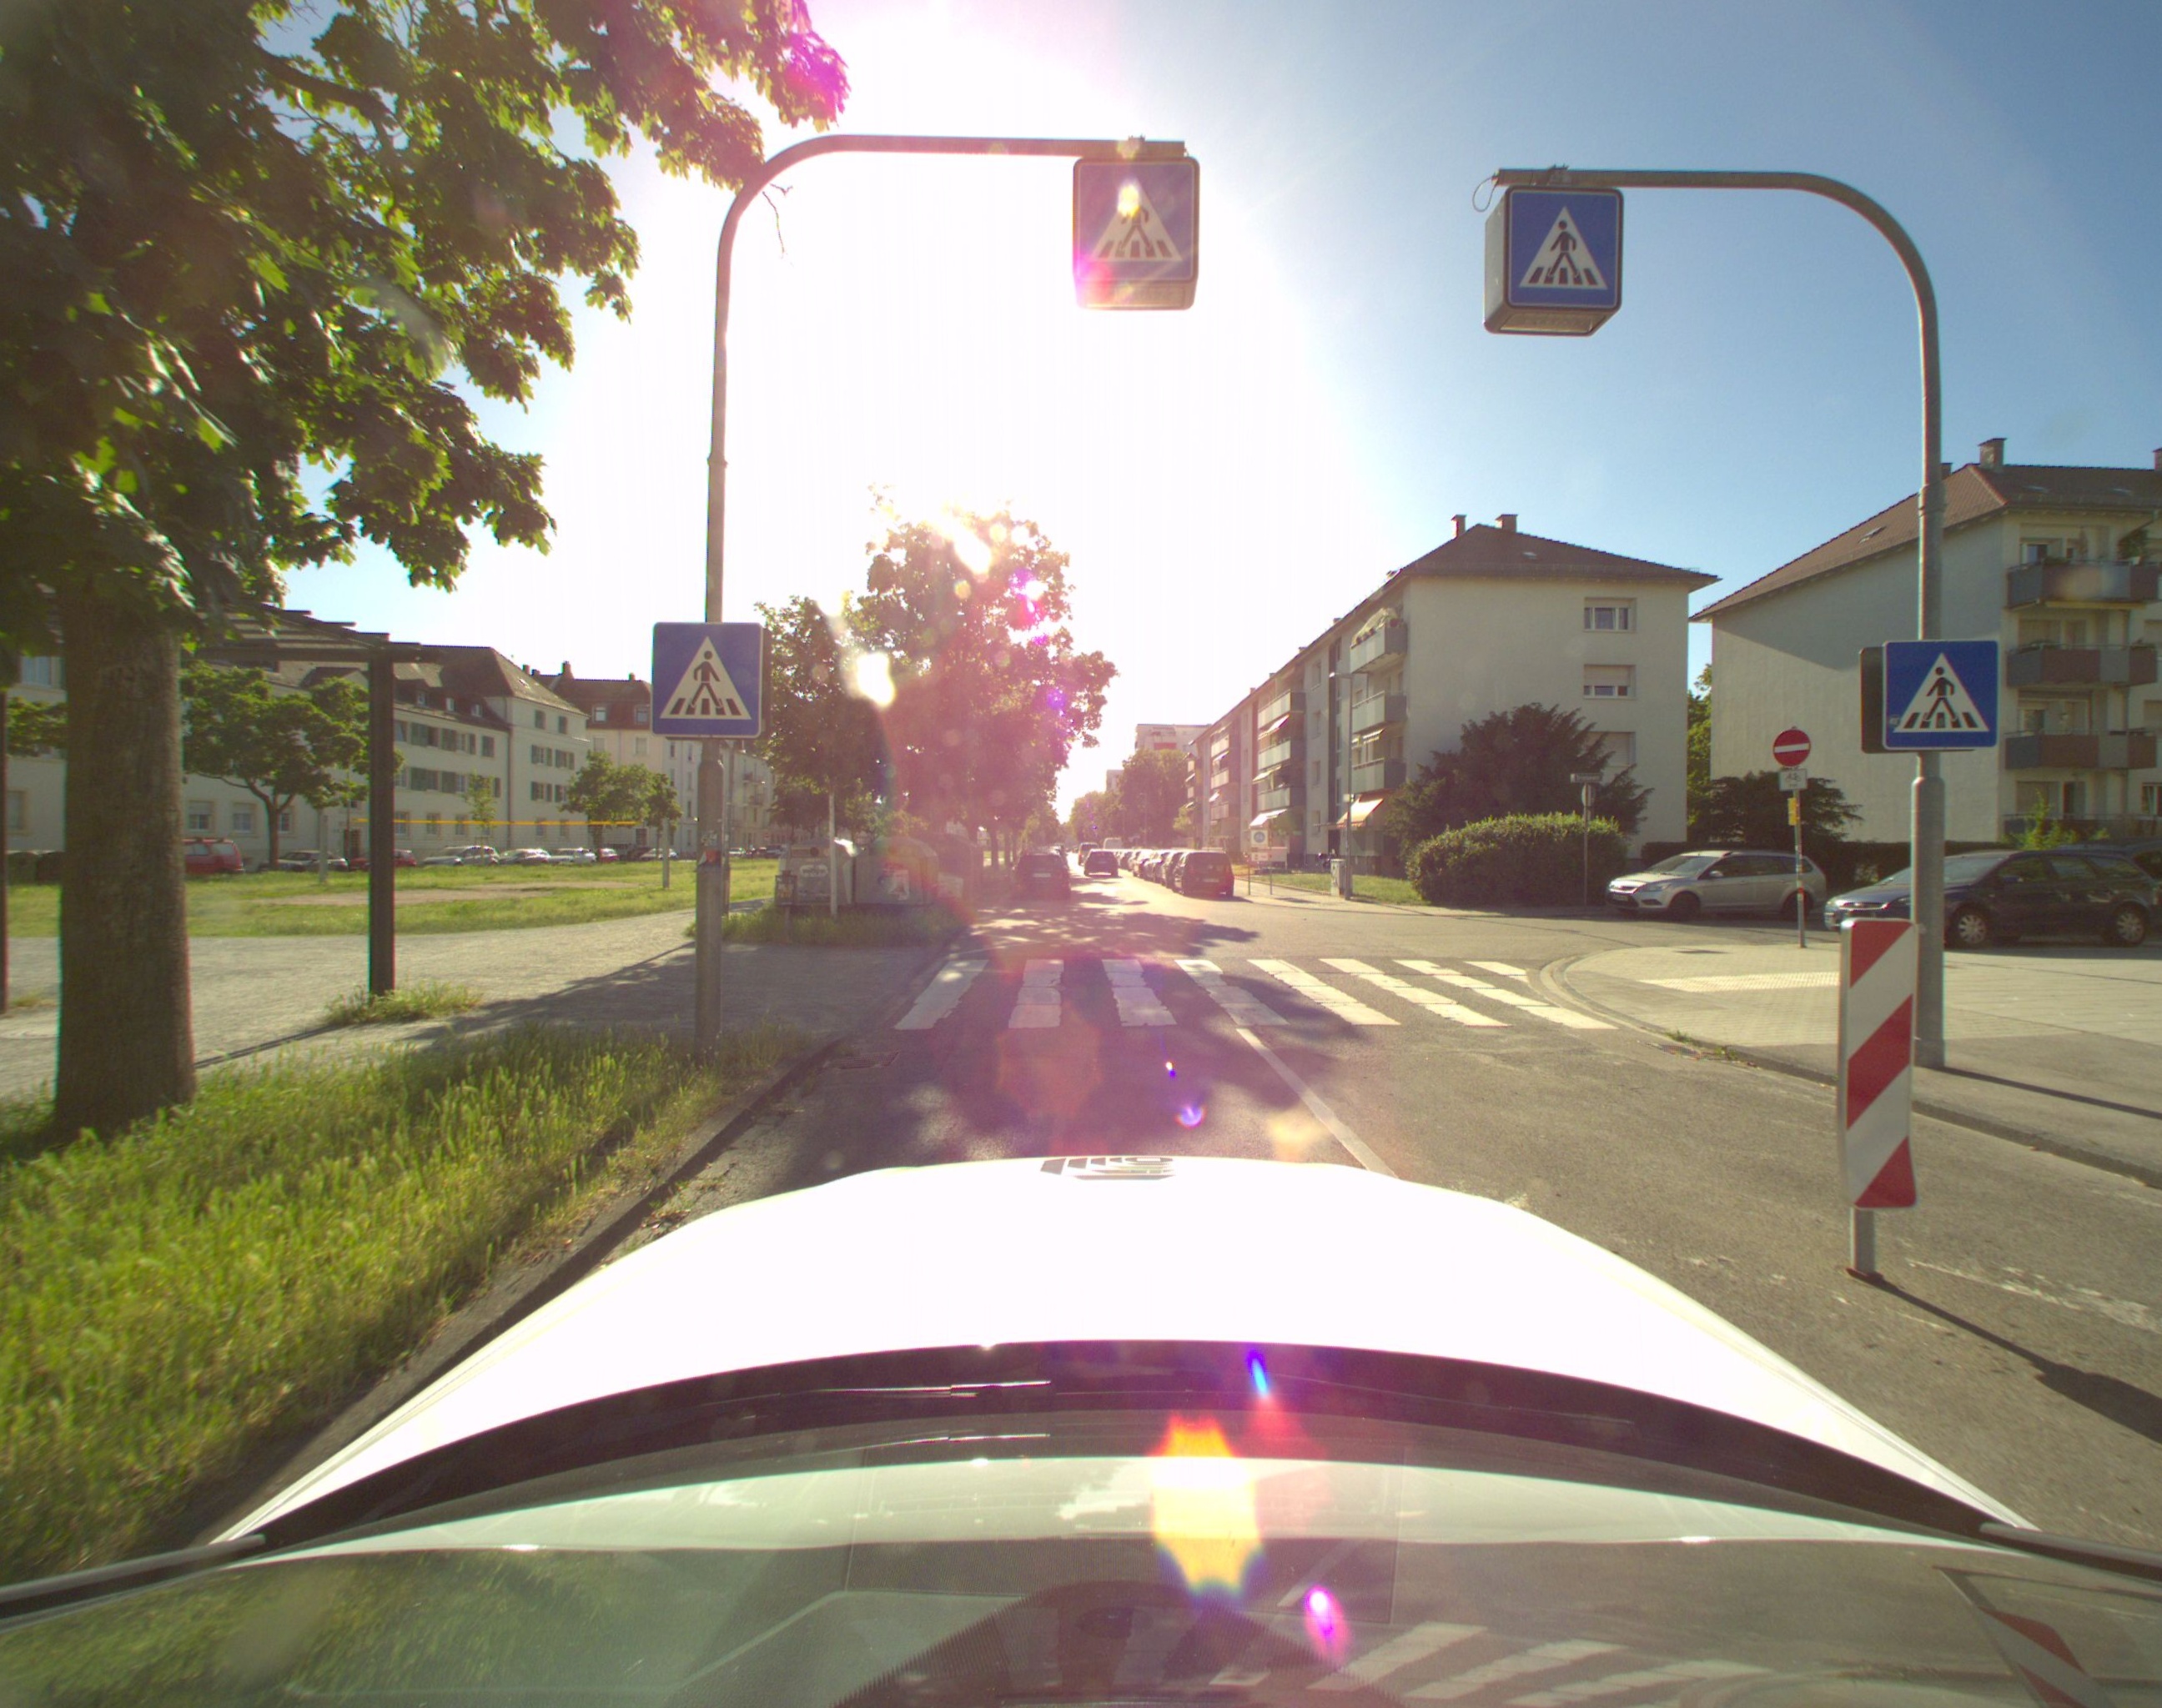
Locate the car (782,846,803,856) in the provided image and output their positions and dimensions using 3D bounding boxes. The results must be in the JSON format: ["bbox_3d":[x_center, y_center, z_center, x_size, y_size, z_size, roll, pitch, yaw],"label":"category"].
[{"bbox_3d":[-37.803,-0.376,106.865,1.691,1.279,3.521,0,0,-4],"label":"car"}]

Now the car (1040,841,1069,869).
[{"bbox_3d":[-1.719,0.081,54.291,1.859,1.784,4.988,0,0,-1],"label":"car"}]

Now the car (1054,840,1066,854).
[{"bbox_3d":[-3.818,-1.299,149.464,2.092,2.496,4.126,0,0,0],"label":"car"}]

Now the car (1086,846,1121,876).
[{"bbox_3d":[1.180,0.334,44.878,1.774,1.531,3.999,1,0,0],"label":"car"}]

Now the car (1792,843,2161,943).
[{"bbox_3d":[14.449,0.586,13.126,4.537,1.474,1.904,0,0,-4],"label":"car"}]

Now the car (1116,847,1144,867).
[{"bbox_3d":[3.756,0.223,63.047,1.695,1.435,4.467,-1,0,-3],"label":"car"}]

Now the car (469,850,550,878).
[{"bbox_3d":[-36.592,0.604,52.278,2.310,1.750,4.008,0,0,0],"label":"car"}]

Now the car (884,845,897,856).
[{"bbox_3d":[-39.628,-0.722,169.605,1.690,2.213,5.001,0,0,-4],"label":"car"}]

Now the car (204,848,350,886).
[{"bbox_3d":[-41.914,0.617,42.689,2.442,1.820,5.257,0,0,0],"label":"car"}]

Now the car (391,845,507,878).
[{"bbox_3d":[-36.463,0.381,47.223,2.442,1.820,5.453,0,0,0],"label":"car"}]

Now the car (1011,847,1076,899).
[{"bbox_3d":[-1.199,0.515,25.391,1.831,1.452,4.962,0,0,-3],"label":"car"}]

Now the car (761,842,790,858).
[{"bbox_3d":[-38.015,-0.509,101.479,2.077,1.872,5.091,0,0,-4],"label":"car"}]

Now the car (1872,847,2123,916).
[{"bbox_3d":[21.058,0.606,18.827,3.962,1.511,1.821,0,0,-4],"label":"car"}]

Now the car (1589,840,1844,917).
[{"bbox_3d":[14.193,0.518,18.344,4.398,1.623,1.912,0,0,-4],"label":"car"}]

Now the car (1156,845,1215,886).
[{"bbox_3d":[4.117,0.409,32.601,1.764,1.529,4.557,0,0,0],"label":"car"}]

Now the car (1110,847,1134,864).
[{"bbox_3d":[3.694,0.083,73.852,1.872,1.475,4.138,0,0,-1],"label":"car"}]

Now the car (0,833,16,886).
[{"bbox_3d":[-41.304,0.219,28.155,2.216,1.984,5.251,0,0,-4],"label":"car"}]

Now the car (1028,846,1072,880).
[{"bbox_3d":[-1.537,0.426,41.951,2.019,1.625,4.756,-1,0,0],"label":"car"}]

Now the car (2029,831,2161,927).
[{"bbox_3d":[21.928,0.459,16.171,4.132,1.790,1.903,0,0,-2],"label":"car"}]

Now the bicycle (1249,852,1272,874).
[{"bbox_3d":[8.866,0.428,40.207,0.717,1.077,1.896,0,0,0],"label":"bicycle"}]

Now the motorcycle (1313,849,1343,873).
[{"bbox_3d":[12.241,0.352,40.466,0.583,1.151,2.030,0,0,-10],"label":"motorcycle"}]

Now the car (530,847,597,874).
[{"bbox_3d":[-36.752,0.444,57.956,2.231,1.820,4.252,0,0,-4],"label":"car"}]

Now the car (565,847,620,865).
[{"bbox_3d":[-42.537,0.152,71.063,1.988,1.485,4.954,-1,0,-2],"label":"car"}]

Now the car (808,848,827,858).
[{"bbox_3d":[-38.189,-0.166,118.224,1.691,1.526,4.075,0,0,-4],"label":"car"}]

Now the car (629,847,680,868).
[{"bbox_3d":[-37.059,0.283,70.974,2.153,1.820,4.700,0,0,-3],"label":"car"}]

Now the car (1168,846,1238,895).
[{"bbox_3d":[3.989,0.496,27.123,1.654,1.474,3.791,2,0,-1],"label":"car"}]

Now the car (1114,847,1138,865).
[{"bbox_3d":[3.732,0.138,68.476,1.716,1.435,4.150,0,0,-1],"label":"car"}]

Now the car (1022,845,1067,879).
[{"bbox_3d":[-1.567,0.343,36.214,1.874,1.419,3.802,-1,0,-1],"label":"car"}]

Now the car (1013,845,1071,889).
[{"bbox_3d":[-1.531,0.436,31.149,1.990,1.516,5.151,-1,1,-4],"label":"car"}]

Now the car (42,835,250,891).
[{"bbox_3d":[-36.119,0.313,31.748,2.216,1.984,5.251,0,0,-4],"label":"car"}]

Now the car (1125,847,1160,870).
[{"bbox_3d":[4.065,0.258,54.476,1.745,1.499,3.855,0,0,-5],"label":"car"}]

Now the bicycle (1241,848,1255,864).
[{"bbox_3d":[11.911,0.148,58.142,0.522,1.071,2.008,-2,0,-2],"label":"bicycle"}]

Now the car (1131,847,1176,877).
[{"bbox_3d":[3.806,0.374,43.537,1.838,1.472,5.061,0,0,-2],"label":"car"}]

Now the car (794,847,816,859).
[{"bbox_3d":[-37.975,-0.116,112.166,1.690,1.561,4.691,0,0,-4],"label":"car"}]

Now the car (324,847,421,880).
[{"bbox_3d":[-42.032,0.519,48.467,2.258,1.905,4.163,0,0,-3],"label":"car"}]

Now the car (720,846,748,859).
[{"bbox_3d":[-43.307,-0.178,101.792,1.990,1.586,4.444,0,0,-5],"label":"car"}]

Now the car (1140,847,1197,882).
[{"bbox_3d":[4.014,0.426,38.158,1.870,1.533,4.486,0,0,-5],"label":"car"}]

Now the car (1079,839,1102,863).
[{"bbox_3d":[0.827,-0.269,71.498,1.888,1.991,4.009,-1,0,0],"label":"car"}]

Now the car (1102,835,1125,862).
[{"bbox_3d":[3.378,-0.577,86.494,2.136,2.713,6.840,-1,0,0],"label":"car"}]

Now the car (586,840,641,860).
[{"bbox_3d":[-49.723,-0.428,86.725,4.554,2.013,2.137,0,0,-5],"label":"car"}]
